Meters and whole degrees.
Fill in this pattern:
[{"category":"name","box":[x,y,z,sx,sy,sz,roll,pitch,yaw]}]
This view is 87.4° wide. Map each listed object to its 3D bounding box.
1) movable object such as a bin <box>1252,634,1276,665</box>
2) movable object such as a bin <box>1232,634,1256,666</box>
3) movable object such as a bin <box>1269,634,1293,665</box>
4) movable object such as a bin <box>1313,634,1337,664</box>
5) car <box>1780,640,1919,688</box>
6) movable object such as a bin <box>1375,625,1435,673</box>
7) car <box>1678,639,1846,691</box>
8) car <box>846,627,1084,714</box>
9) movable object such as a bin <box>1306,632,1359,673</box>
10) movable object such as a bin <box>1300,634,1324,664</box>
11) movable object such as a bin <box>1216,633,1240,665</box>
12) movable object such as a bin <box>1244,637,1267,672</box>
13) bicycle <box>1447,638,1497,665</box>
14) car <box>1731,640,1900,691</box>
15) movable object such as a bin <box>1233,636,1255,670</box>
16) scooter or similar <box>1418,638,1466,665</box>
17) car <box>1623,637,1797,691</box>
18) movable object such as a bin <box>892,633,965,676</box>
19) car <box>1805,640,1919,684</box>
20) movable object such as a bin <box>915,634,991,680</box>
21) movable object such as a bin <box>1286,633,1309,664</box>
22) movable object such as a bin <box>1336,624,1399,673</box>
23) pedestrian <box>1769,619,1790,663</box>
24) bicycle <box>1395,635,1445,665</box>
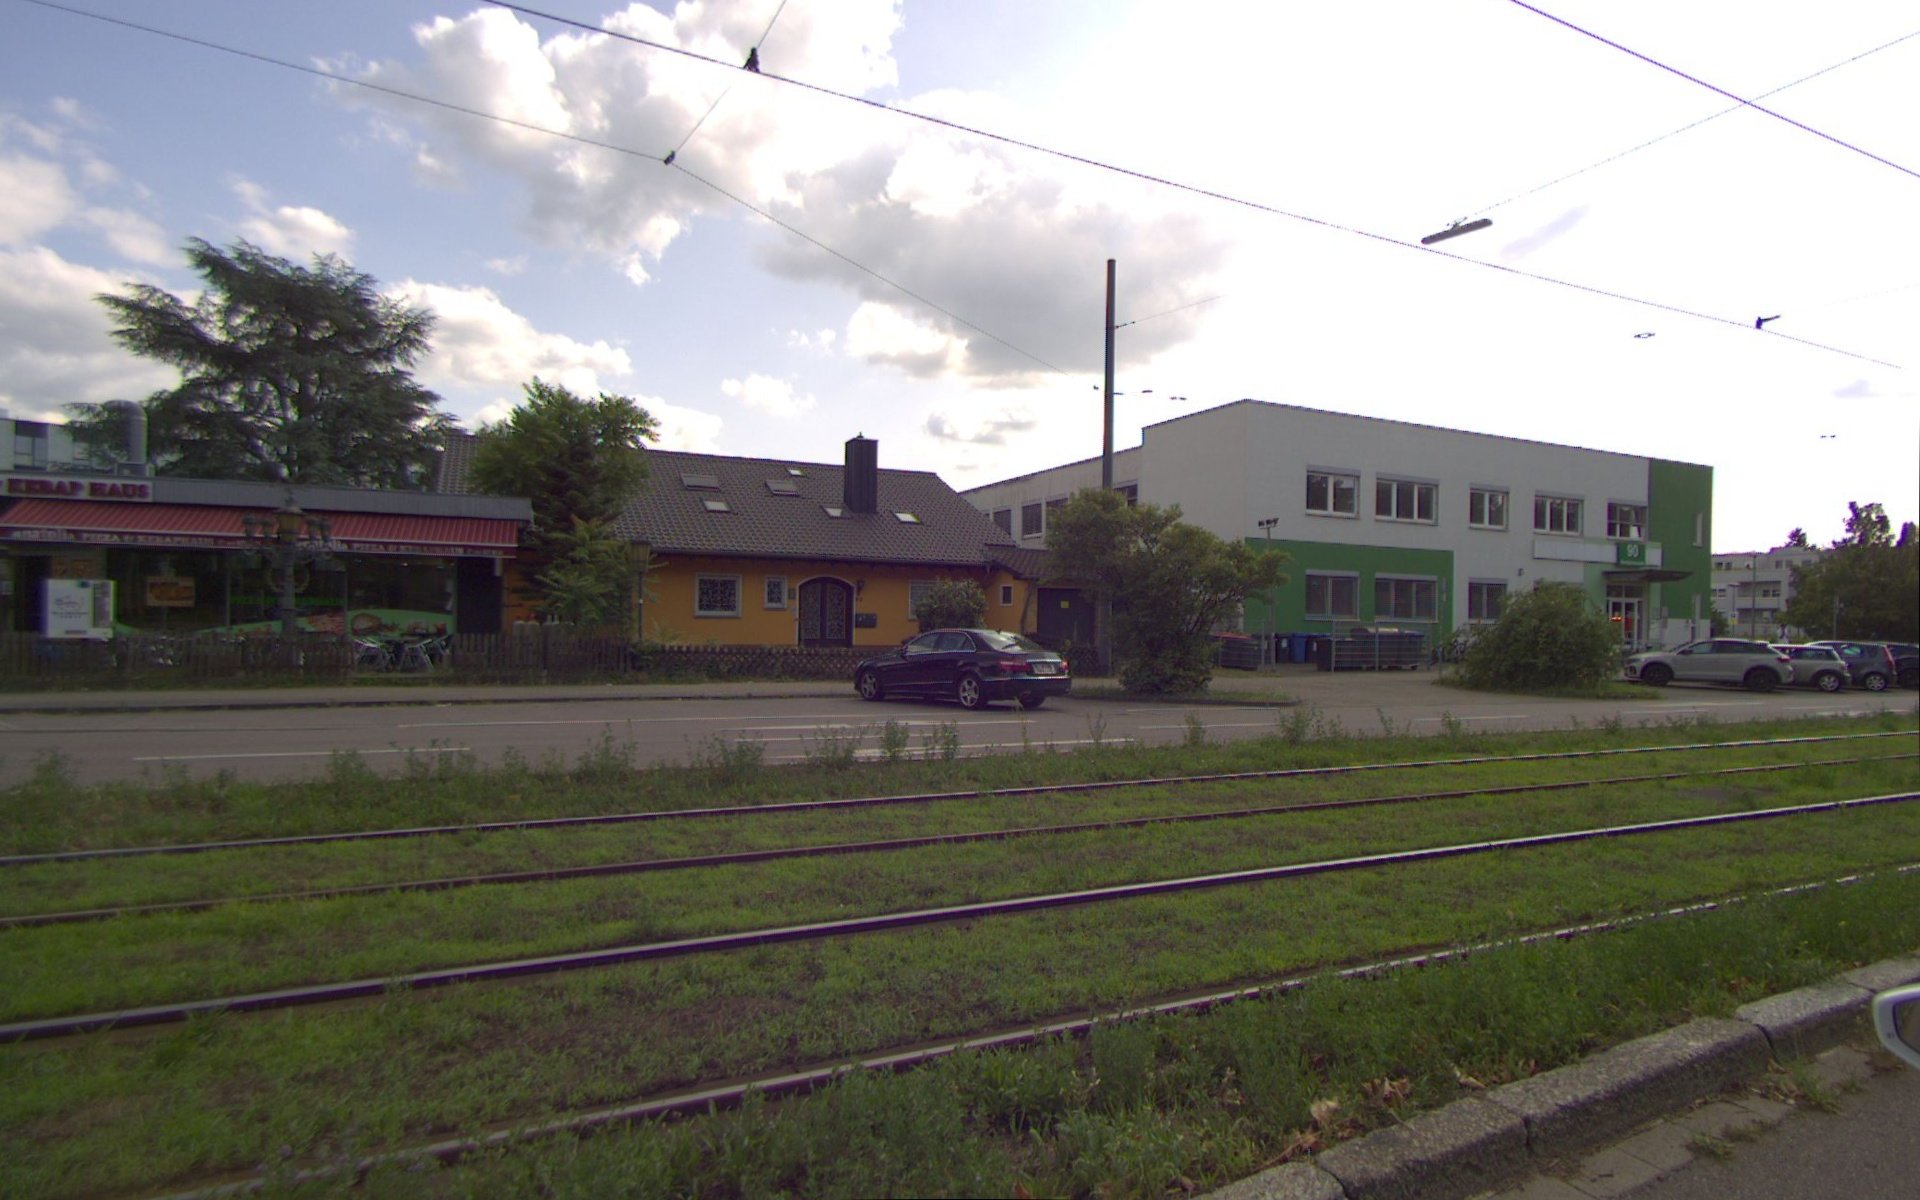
[{"category":"movable object such as a bin","box":[10.678,1.749,35.340,0.556,1.056,0.567,0,1,-24]},{"category":"movable object such as a bin","box":[9.874,1.729,34.933,0.556,1.056,0.567,0,1,-24]},{"category":"movable object such as a bin","box":[11.374,1.763,35.636,0.556,1.056,0.567,0,1,-24]},{"category":"movable object such as a bin","box":[13.261,1.769,36.479,0.556,1.056,0.567,0,1,-24]},{"category":"car","box":[31.317,2.195,34.969,4.167,1.501,1.877,0,-2,36]},{"category":"movable object such as a bin","box":[14.937,1.614,33.705,1.581,1.540,1.003,1,1,-23]},{"category":"car","box":[25.795,2.060,32.518,4.167,1.501,1.877,0,-2,36]},{"category":"car","box":[-0.017,1.282,19.254,1.871,1.425,4.590,4,-3,-44]},{"category":"movable object such as a bin","box":[12.018,1.684,32.420,1.238,1.251,1.003,1,1,-23]},{"category":"movable object such as a bin","box":[12.671,1.761,36.197,0.556,1.056,0.567,0,1,-24]},{"category":"movable object such as a bin","box":[9.226,1.690,34.604,0.556,1.056,0.567,0,1,-24]},{"category":"movable object such as a bin","box":[9.344,1.722,31.724,0.475,1.056,0.503,0,1,-25]},{"category":"bicycle","box":[19.925,1.992,39.132,0.452,0.911,1.853,2,0,-24]},{"category":"car","box":[28.538,2.150,33.715,4.167,1.501,1.877,0,-2,36]},{"category":"movable object such as a bin","box":[9.120,1.685,32.235,0.473,1.056,0.492,0,1,-25]},{"category":"scooter or similar","box":[18.513,1.969,38.602,0.452,0.911,1.730,2,0,-24]},{"category":"car","box":[23.173,1.929,31.269,4.161,1.501,1.879,0,-2,31]},{"category":"movable object such as a bin","box":[-0.865,1.483,27.383,1.597,1.107,1.250,1,-1,-26]},{"category":"car","box":[33.729,2.245,36.749,4.167,1.501,1.877,0,-2,36]},{"category":"movable object such as a bin","box":[-0.197,1.463,26.083,1.597,1.115,1.250,1,-1,-26]},{"category":"movable object such as a bin","box":[12.075,1.733,35.948,0.556,1.056,0.567,0,1,-24]},{"category":"movable object such as a bin","box":[13.409,1.574,33.025,1.687,1.540,1.003,1,1,-23]},{"category":"pedestrian","box":[35.562,1.774,43.579,0.502,1.852,0.544,1,-1,-27]},{"category":"bicycle","box":[17.279,1.869,37.760,0.452,0.999,1.853,2,0,-24]}]
